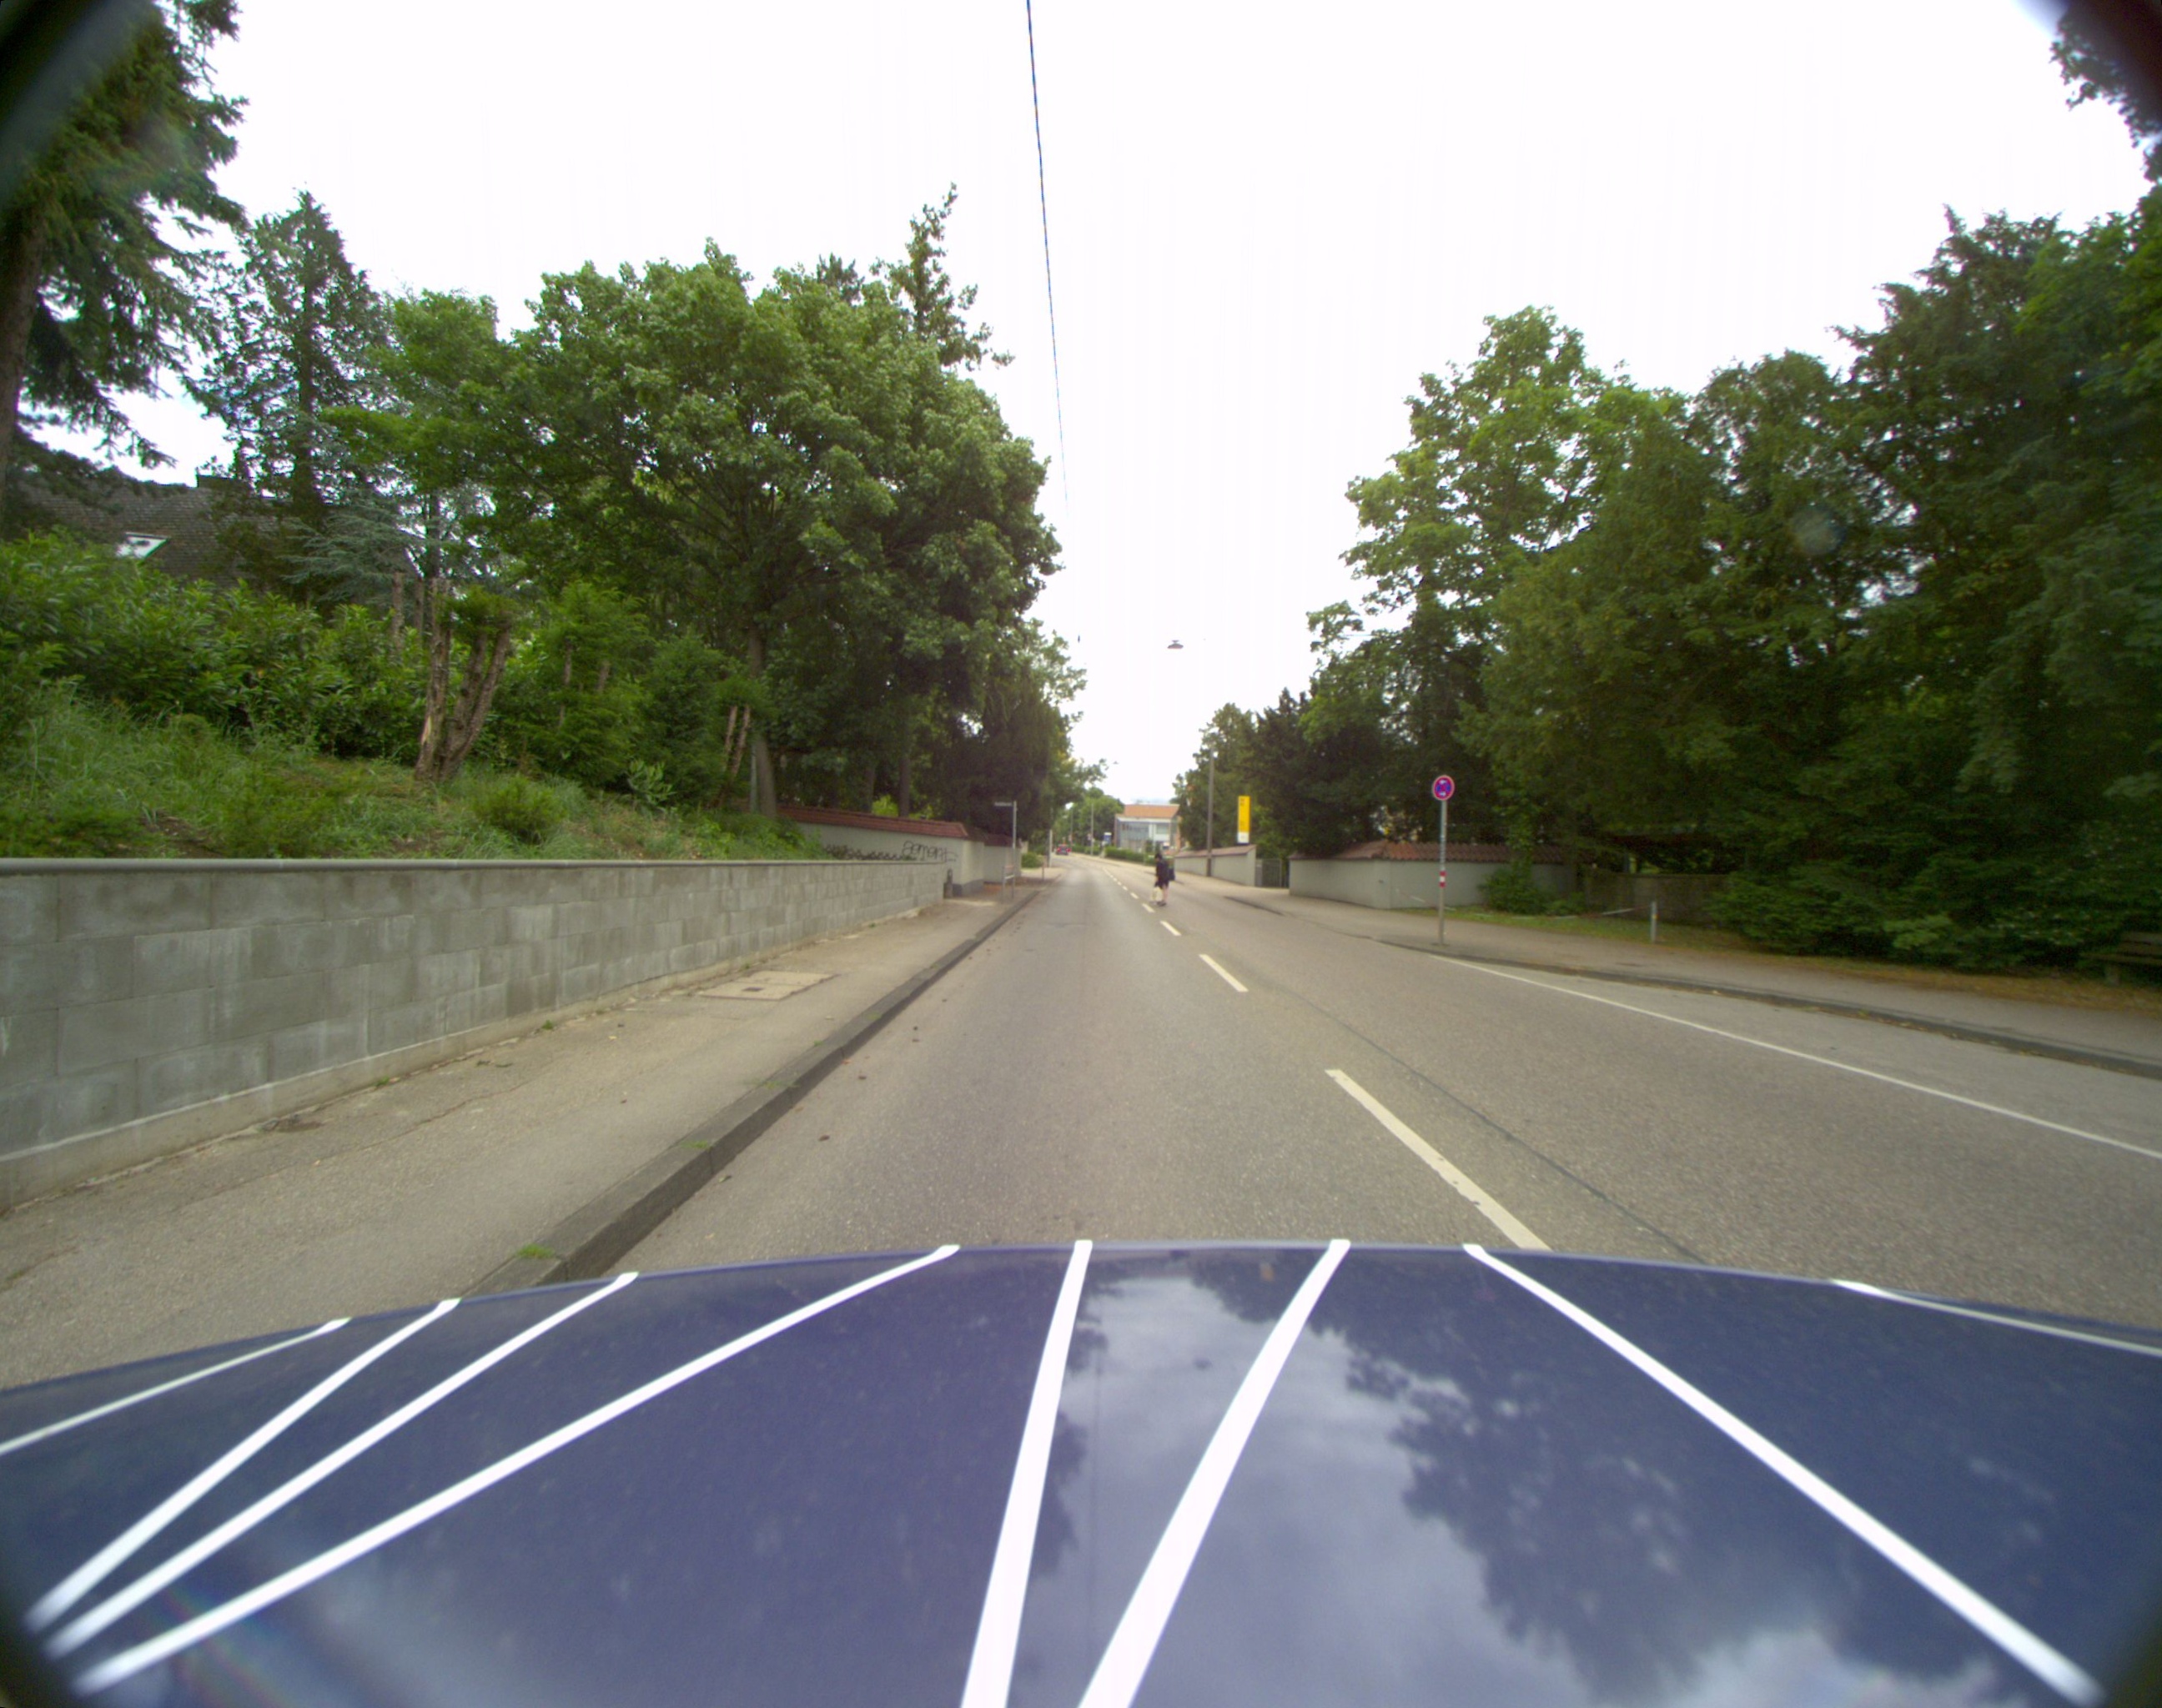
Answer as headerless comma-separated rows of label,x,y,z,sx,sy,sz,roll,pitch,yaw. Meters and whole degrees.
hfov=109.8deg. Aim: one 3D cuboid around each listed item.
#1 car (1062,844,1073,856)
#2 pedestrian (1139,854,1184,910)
car,-2.368,-0.693,134.704,1.895,1.845,5.082,4,0,0
pedestrian,2.339,0.786,22.021,0.900,1.551,0.930,1,1,42
